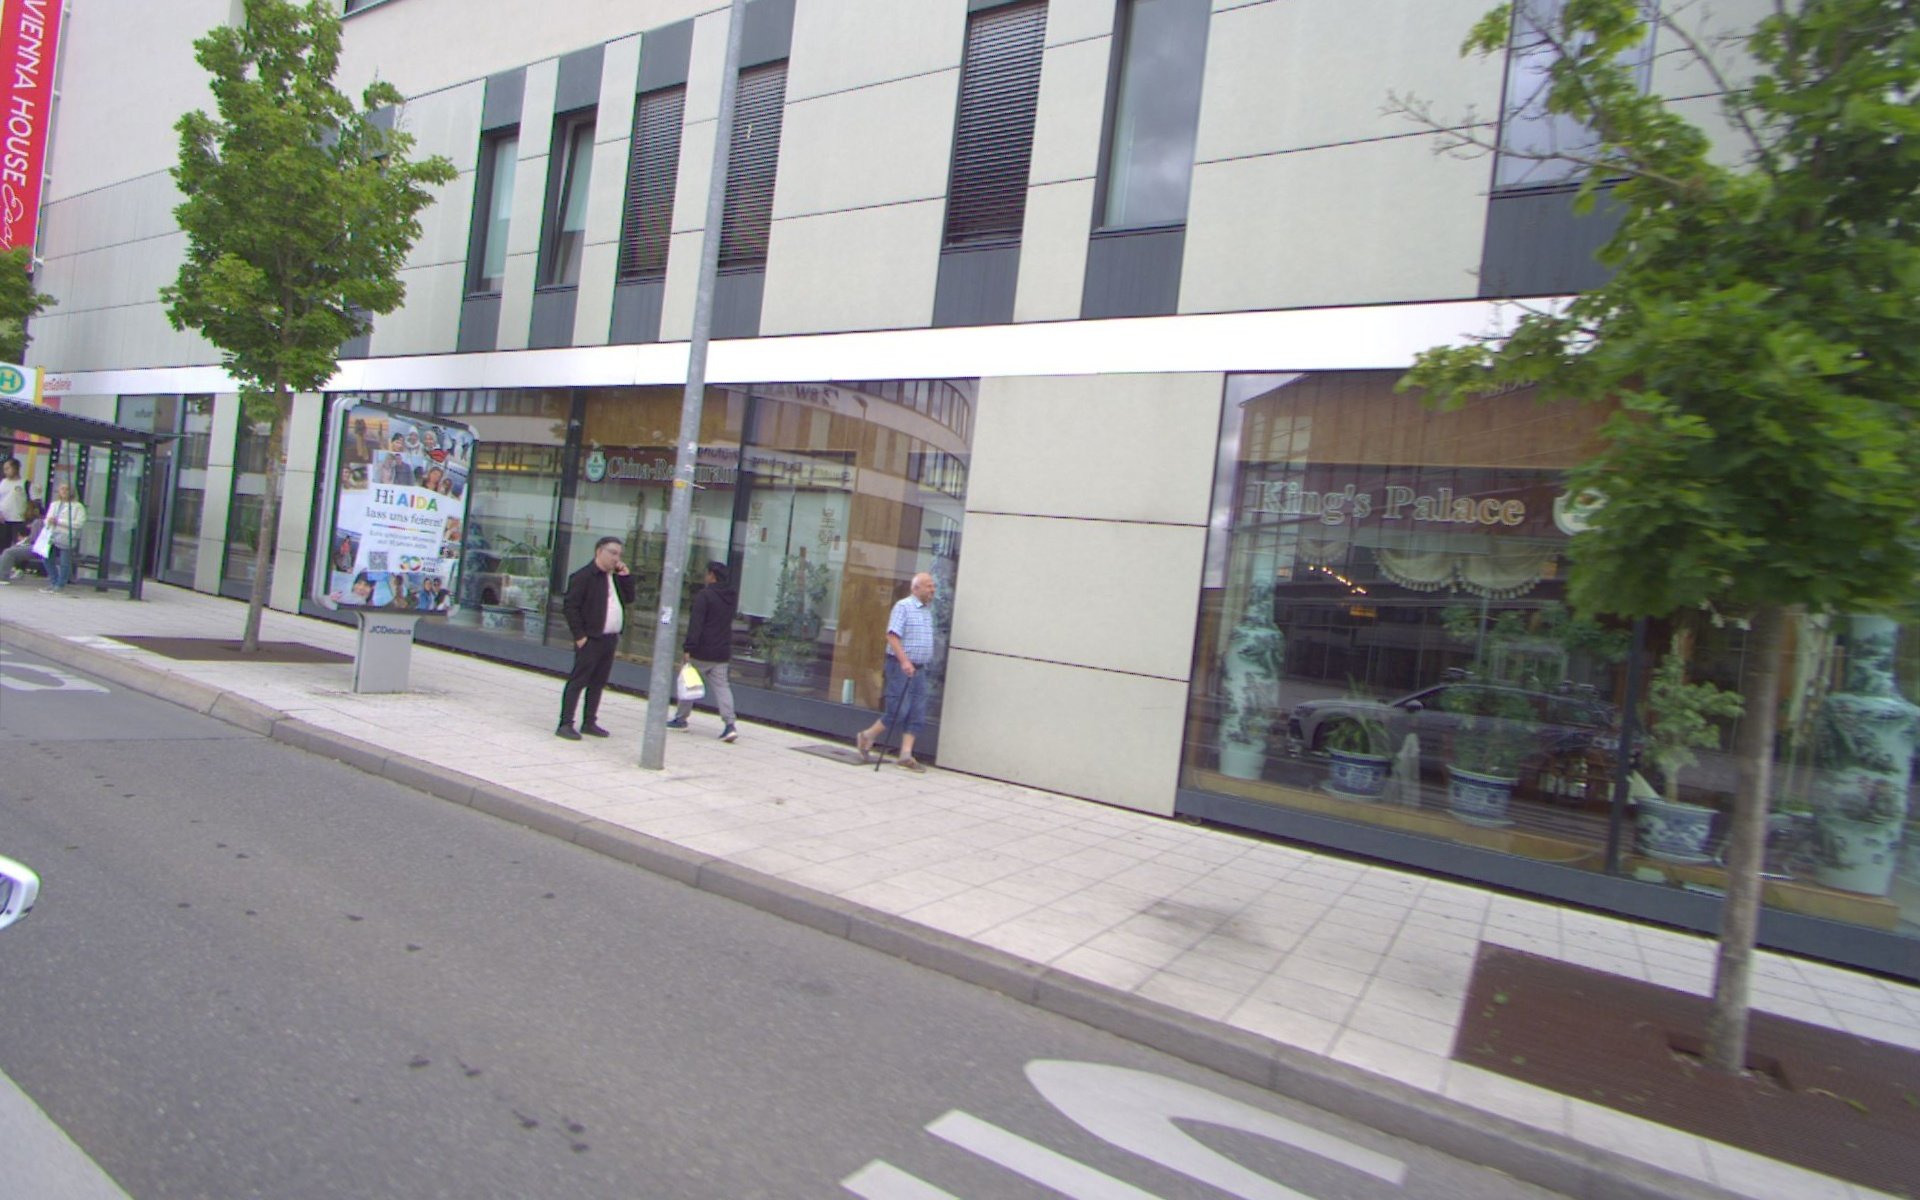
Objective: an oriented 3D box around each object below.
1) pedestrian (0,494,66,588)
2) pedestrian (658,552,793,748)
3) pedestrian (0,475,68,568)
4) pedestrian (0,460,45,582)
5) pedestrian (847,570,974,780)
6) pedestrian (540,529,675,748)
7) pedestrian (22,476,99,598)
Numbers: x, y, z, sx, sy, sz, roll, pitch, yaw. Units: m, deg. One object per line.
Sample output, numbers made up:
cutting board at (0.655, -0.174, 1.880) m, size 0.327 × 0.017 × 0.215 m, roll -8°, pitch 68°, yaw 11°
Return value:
pedestrian at (-13.780, -0.875, 14.597) m, size 0.720 × 1.275 × 0.944 m, roll 7°, pitch 1°, yaw 28°
pedestrian at (-2.108, 0.446, 9.078) m, size 0.703 × 1.628 × 0.741 m, roll 7°, pitch 1°, yaw 31°
pedestrian at (-17.661, -1.486, 19.035) m, size 0.791 × 1.603 × 0.870 m, roll 7°, pitch 1°, yaw 30°
pedestrian at (-14.587, -1.222, 15.424) m, size 0.843 × 1.792 × 0.578 m, roll 7°, pitch 2°, yaw 37°
pedestrian at (-0.419, 0.644, 8.752) m, size 0.604 × 1.690 × 0.745 m, roll 7°, pitch 1°, yaw 31°
pedestrian at (-2.907, 0.316, 8.324) m, size 0.604 × 1.690 × 0.655 m, roll 7°, pitch 1°, yaw 31°
pedestrian at (-12.572, -0.881, 14.063) m, size 0.721 × 1.611 × 0.578 m, roll 7°, pitch 2°, yaw 37°
